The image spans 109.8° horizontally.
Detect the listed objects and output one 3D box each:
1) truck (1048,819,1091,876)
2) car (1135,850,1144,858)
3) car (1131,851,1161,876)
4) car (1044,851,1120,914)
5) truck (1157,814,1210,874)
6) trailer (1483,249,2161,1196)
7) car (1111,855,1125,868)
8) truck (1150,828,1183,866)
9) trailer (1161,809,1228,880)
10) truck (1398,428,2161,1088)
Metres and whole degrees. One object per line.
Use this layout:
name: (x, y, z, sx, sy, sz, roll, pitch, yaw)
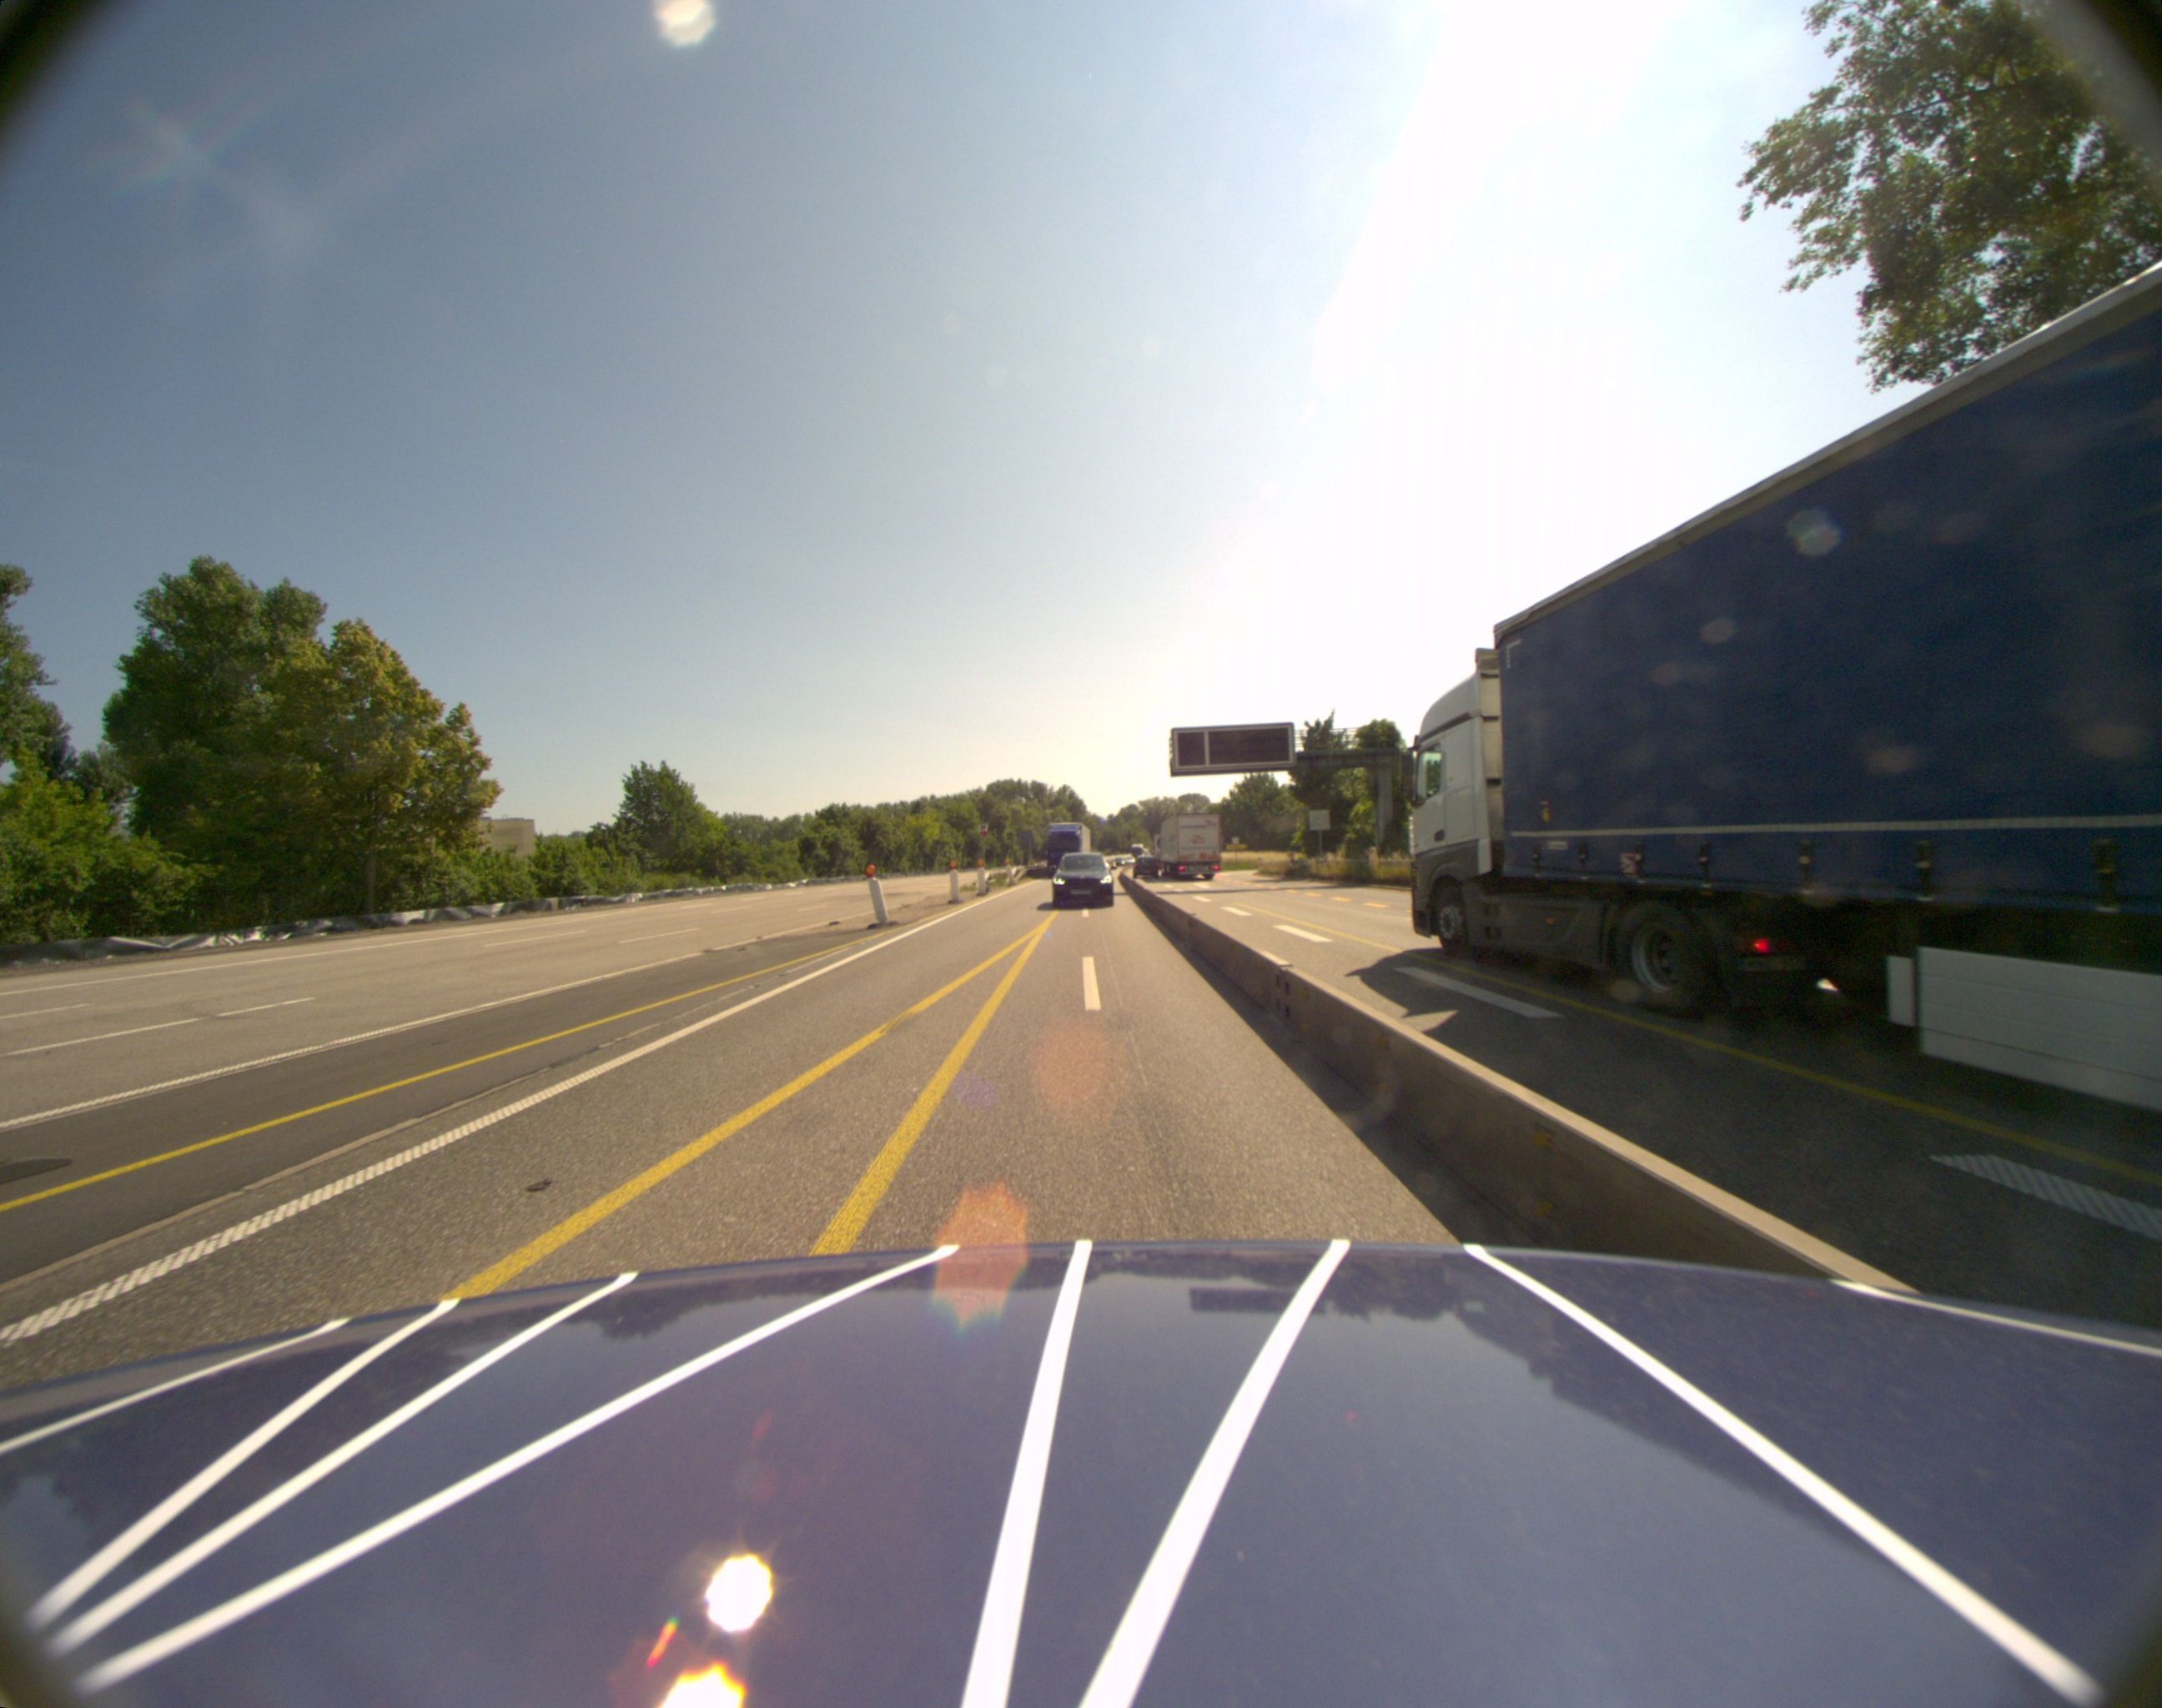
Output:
truck: (-0.794, -0.497, 58.945, 2.860, 3.962, 8.665, -2, 1, 1)
car: (12.667, 0.004, 165.401, 1.747, 1.621, 4.093, -2, 1, 3)
car: (4.551, 0.668, 53.808, 1.747, 1.621, 4.372, -2, 1, 1)
car: (0.135, 0.819, 24.506, 1.788, 1.651, 4.488, -5, 1, 7)
truck: (7.532, -0.730, 56.691, 3.052, 4.081, 7.643, -2, 1, 2)
trailer: (5.992, -0.573, 1.904, 2.627, 4.103, 14.066, -2, 1, 1)
car: (5.194, 1.063, 106.093, 1.747, 1.621, 4.092, -2, 1, 1)
truck: (9.822, -0.801, 88.471, 3.052, 4.081, 8.711, -2, 1, 2)
trailer: (7.343, -0.597, 51.130, 3.052, 4.081, 12.341, -2, 1, 2)
truck: (6.057, -0.625, 8.072, 2.627, 4.103, 6.506, -2, 1, 1)
